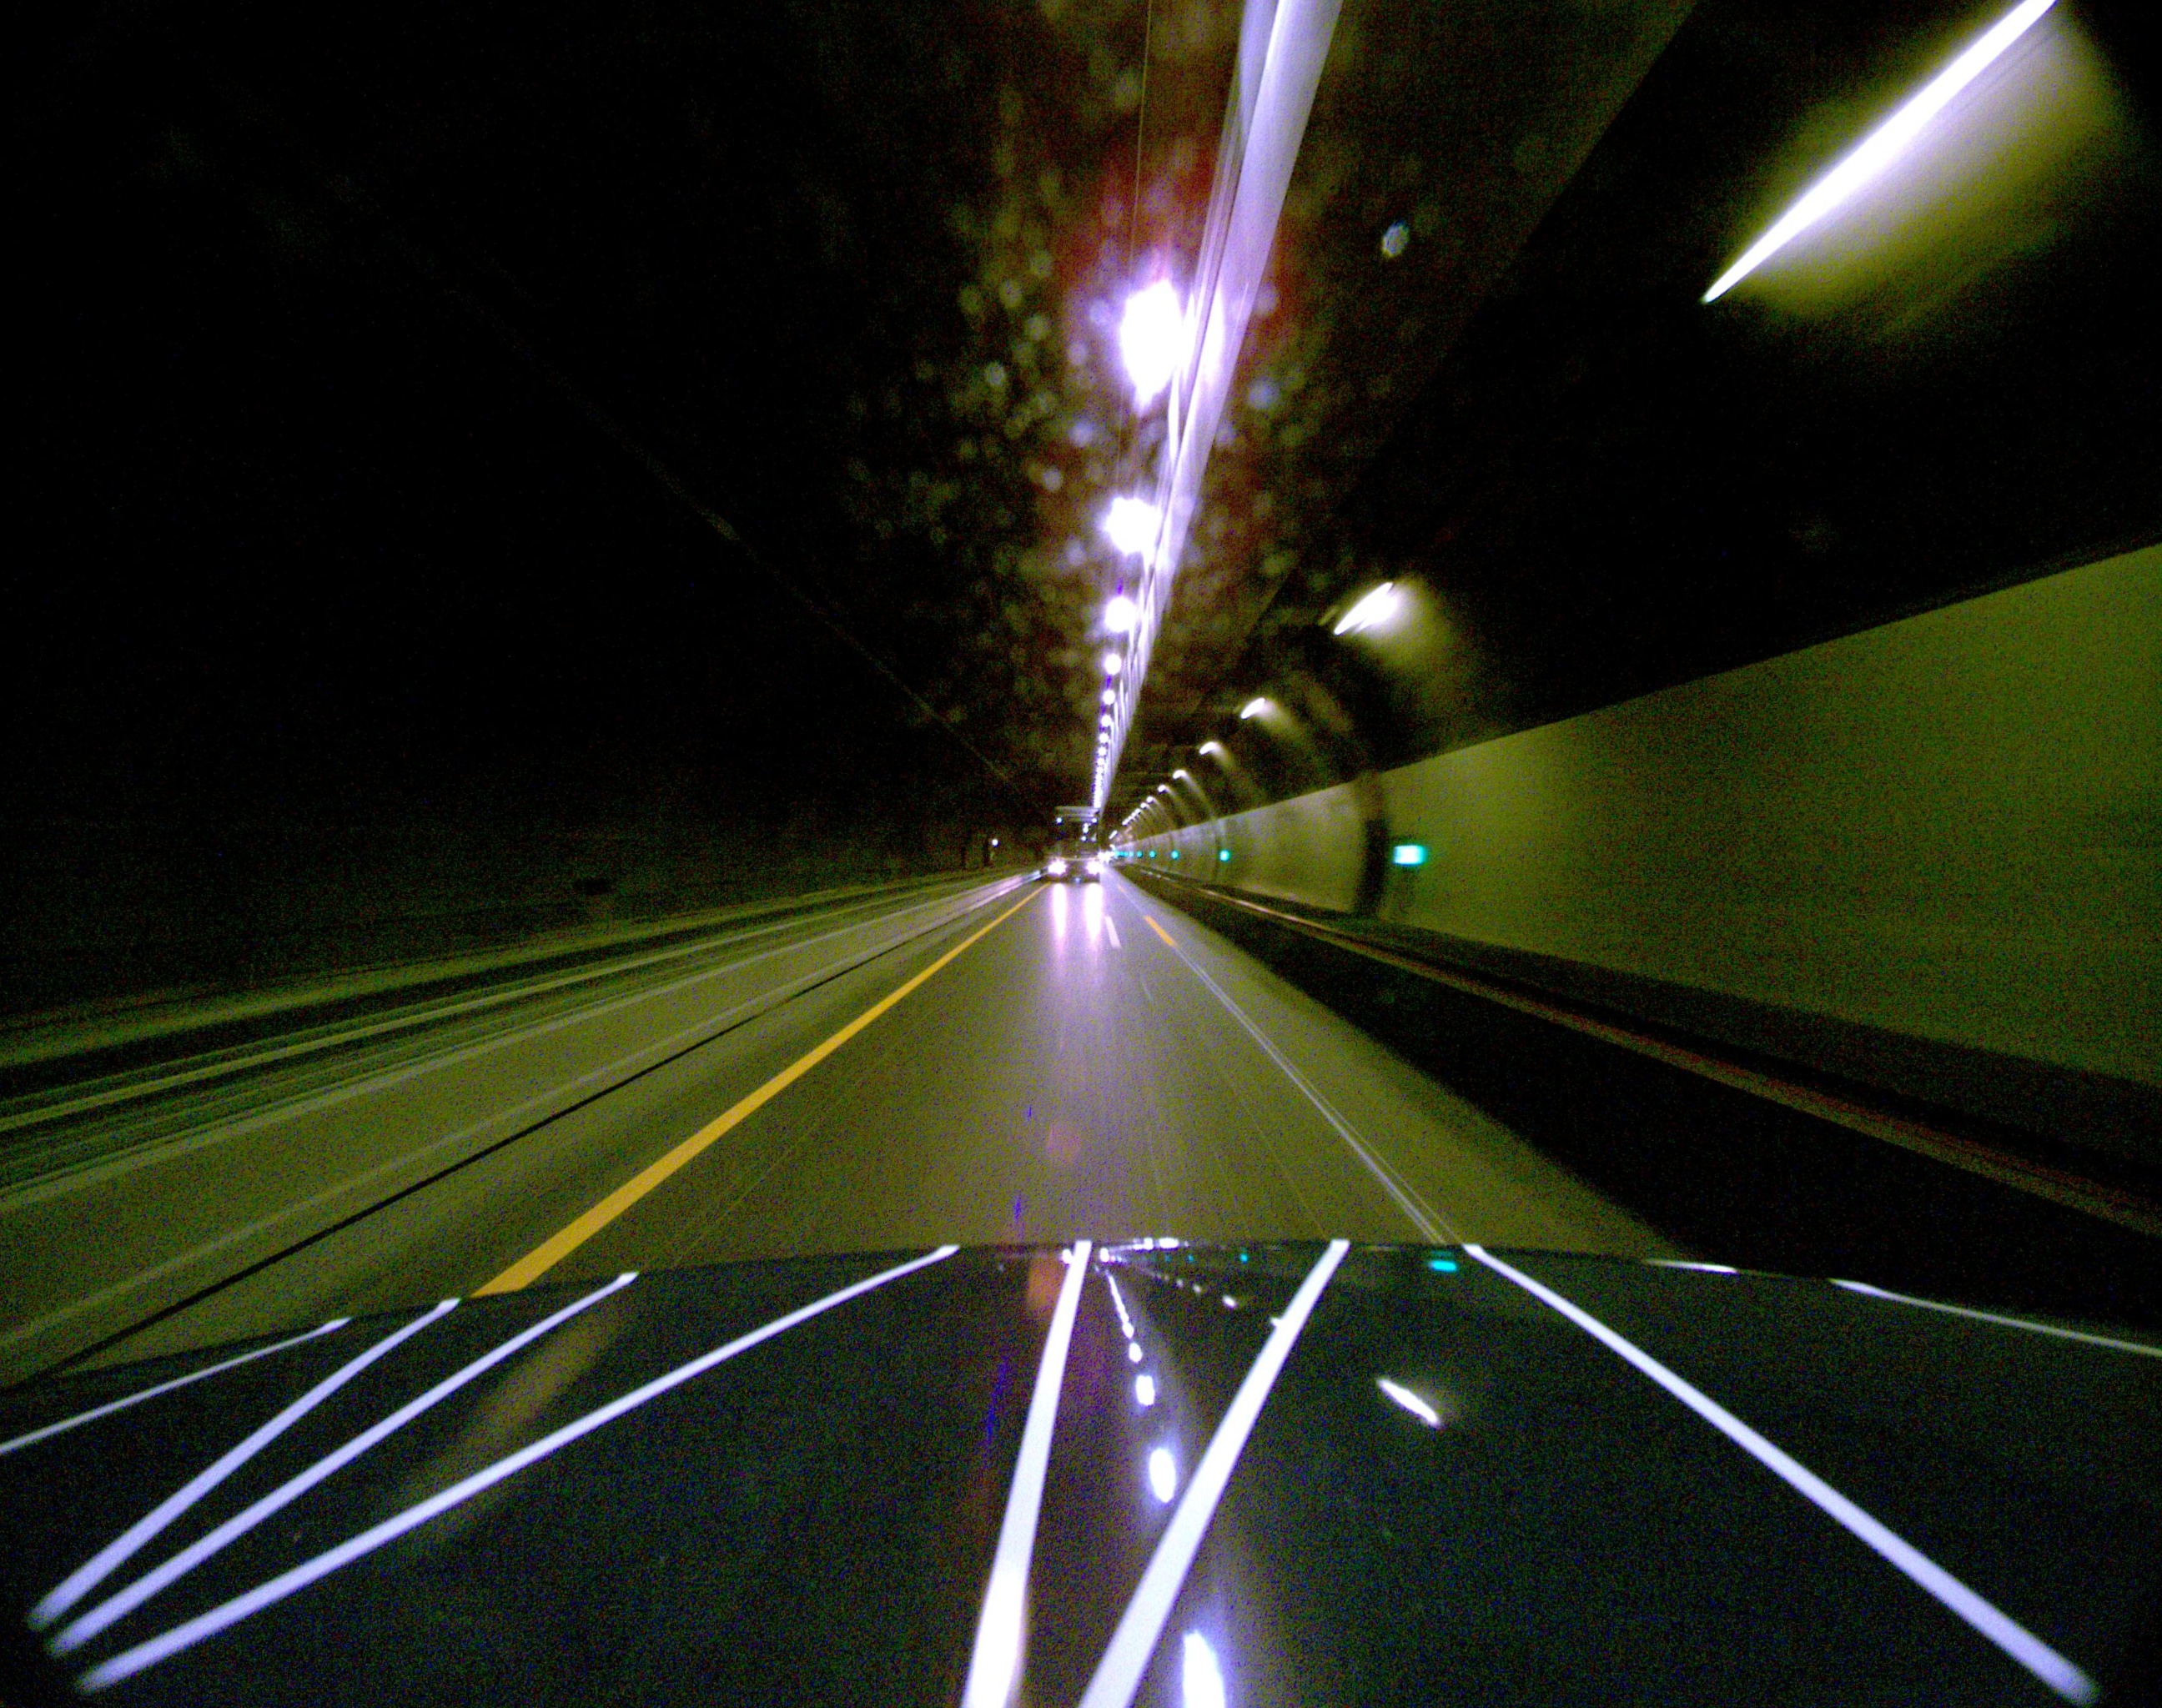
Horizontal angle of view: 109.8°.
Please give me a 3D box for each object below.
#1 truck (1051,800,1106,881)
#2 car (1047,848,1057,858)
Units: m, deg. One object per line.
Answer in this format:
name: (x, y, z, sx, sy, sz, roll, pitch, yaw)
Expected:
truck: (-0.018, -0.744, 44.035, 2.769, 4.198, 7.977, -1, 1, 2)
car: (-5.464, -0.167, 141.049, 1.756, 1.834, 4.644, 1, 0, -3)
